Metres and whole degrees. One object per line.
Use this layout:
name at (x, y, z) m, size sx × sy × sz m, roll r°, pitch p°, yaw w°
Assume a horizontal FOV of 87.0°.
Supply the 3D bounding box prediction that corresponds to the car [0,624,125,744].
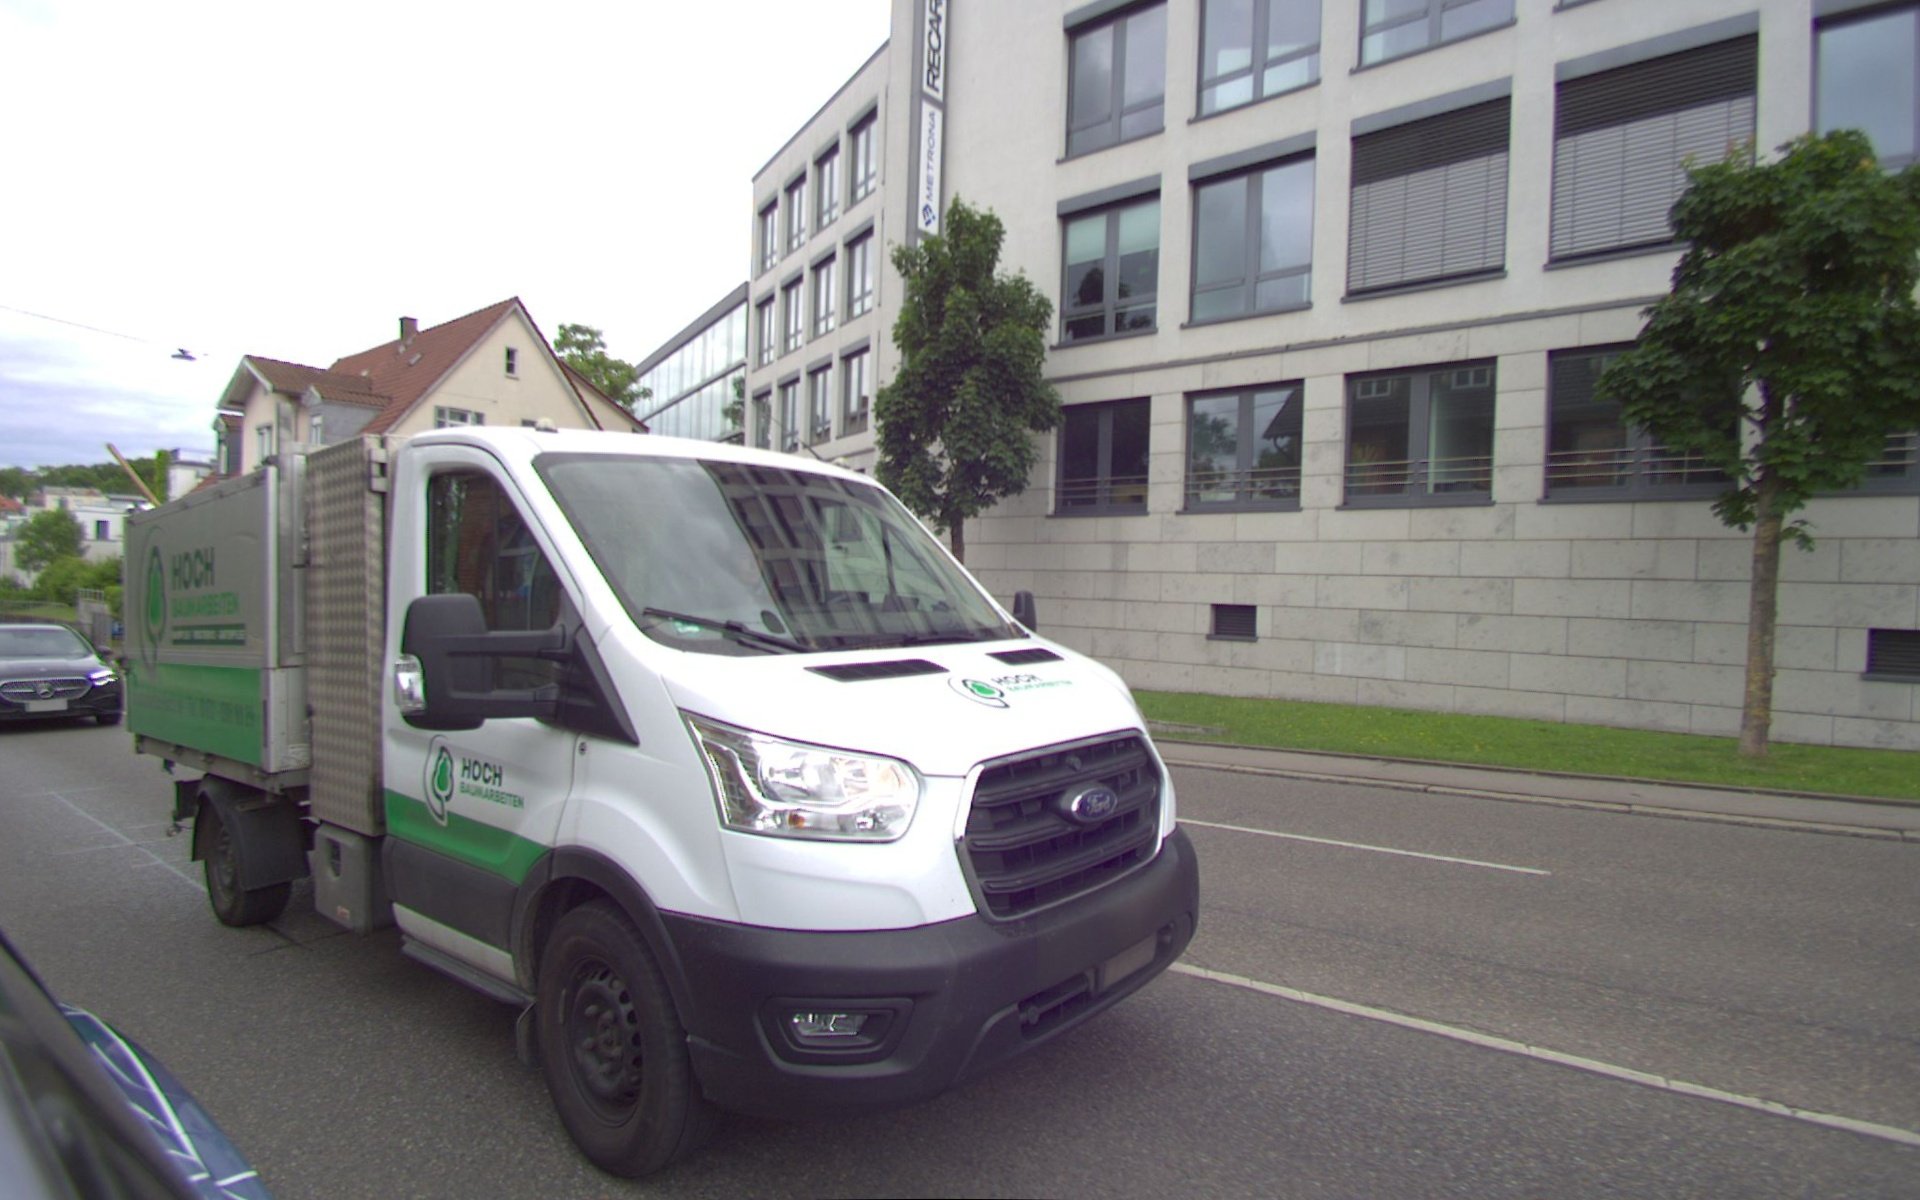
car at (-13.899, 1.170, 14.841) m, size 4.332 × 1.541 × 1.854 m, roll -2°, pitch -2°, yaw 41°

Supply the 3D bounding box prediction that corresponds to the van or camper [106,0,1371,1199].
van or camper at (-1.590, 0.201, 4.515) m, size 5.958 × 2.682 × 2.320 m, roll 0°, pitch 1°, yaw 39°

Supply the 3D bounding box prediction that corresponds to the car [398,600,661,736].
car at (-6.776, 1.006, 15.706) m, size 4.651 × 1.803 × 1.850 m, roll -2°, pitch -4°, yaw 41°
